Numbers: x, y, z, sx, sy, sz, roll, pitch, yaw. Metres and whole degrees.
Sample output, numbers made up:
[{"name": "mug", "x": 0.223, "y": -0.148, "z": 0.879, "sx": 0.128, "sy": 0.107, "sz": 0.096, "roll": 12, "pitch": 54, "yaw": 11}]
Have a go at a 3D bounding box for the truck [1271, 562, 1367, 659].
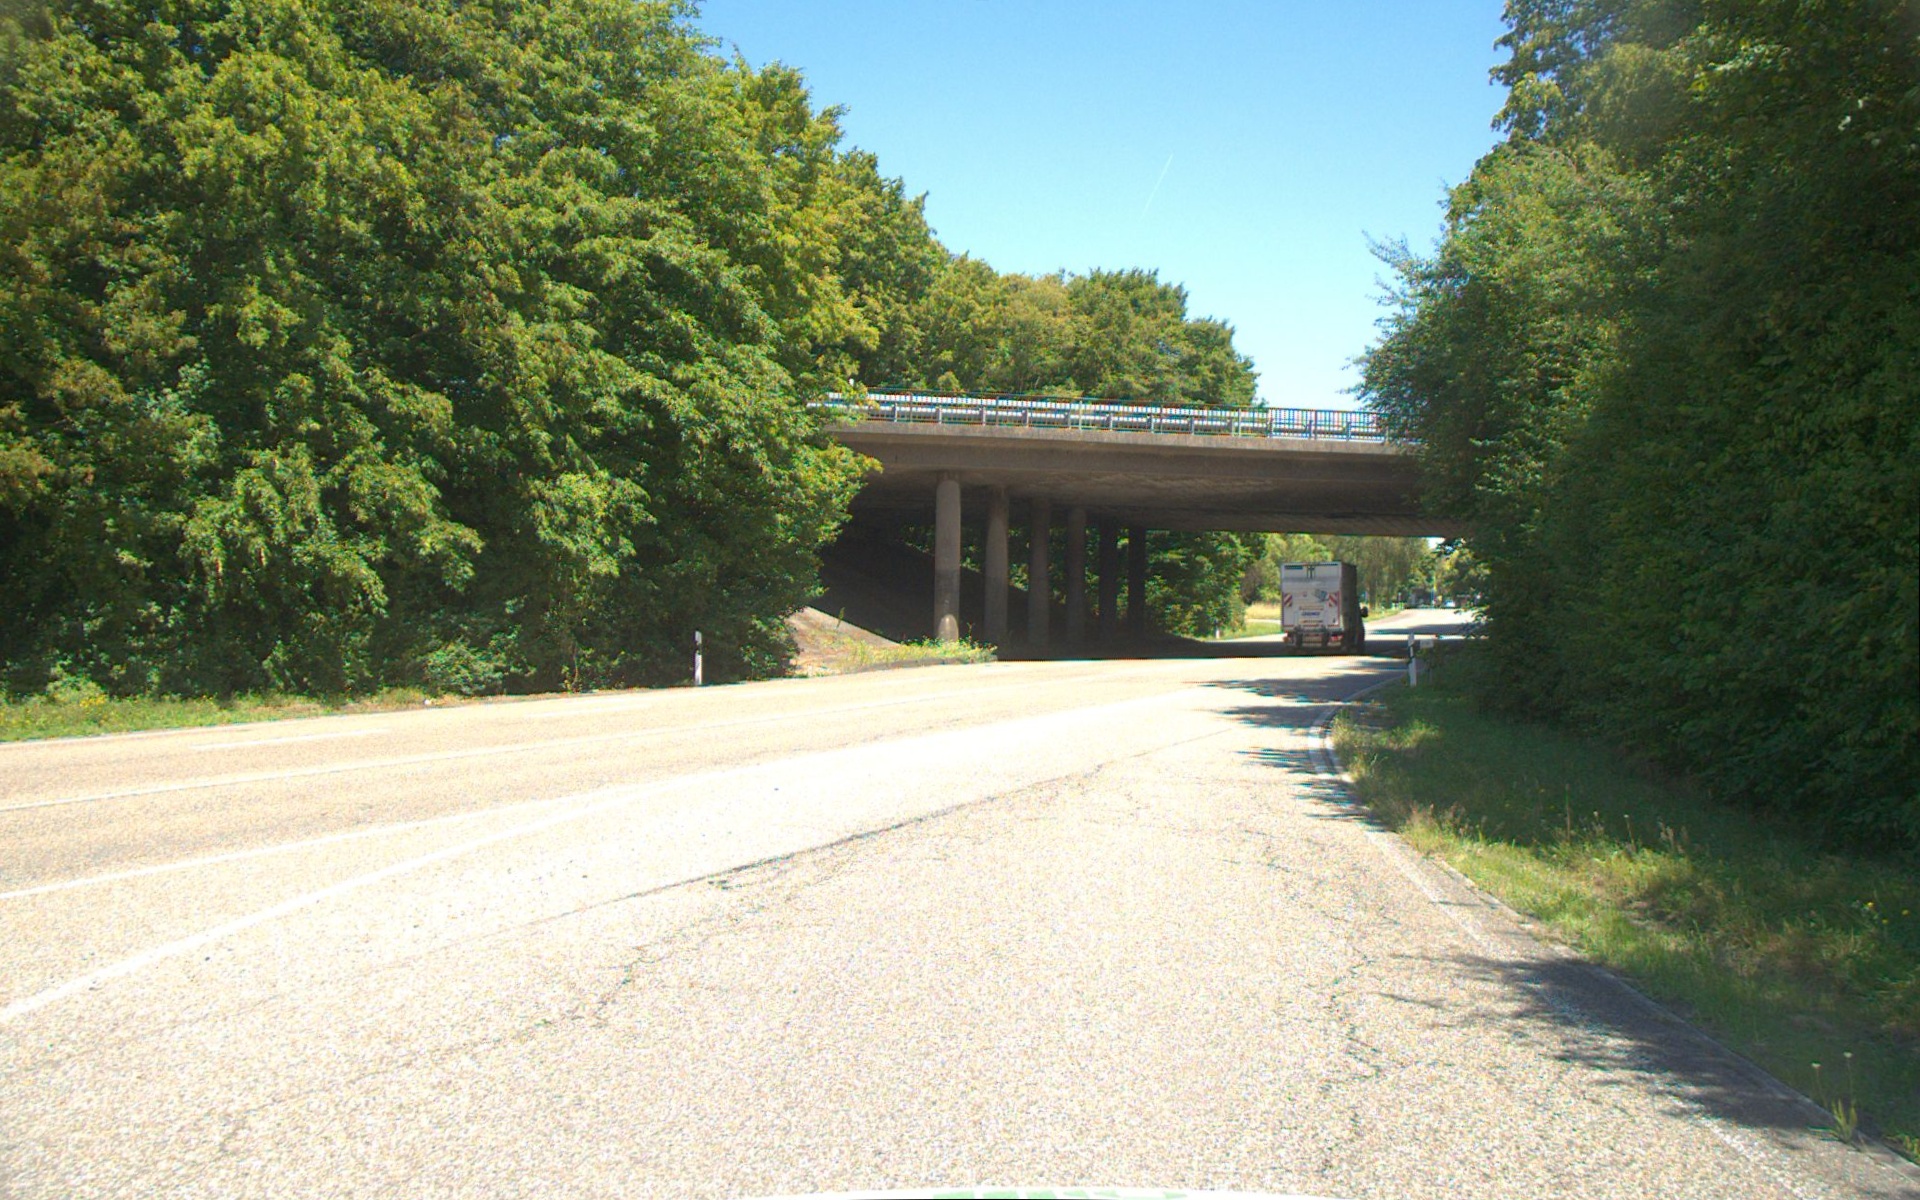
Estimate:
[{"name": "truck", "x": 12.018, "y": 0.350, "z": 55.011, "sx": 2.194, "sy": 3.037, "sz": 5.894, "roll": 0, "pitch": -1, "yaw": 22}]
